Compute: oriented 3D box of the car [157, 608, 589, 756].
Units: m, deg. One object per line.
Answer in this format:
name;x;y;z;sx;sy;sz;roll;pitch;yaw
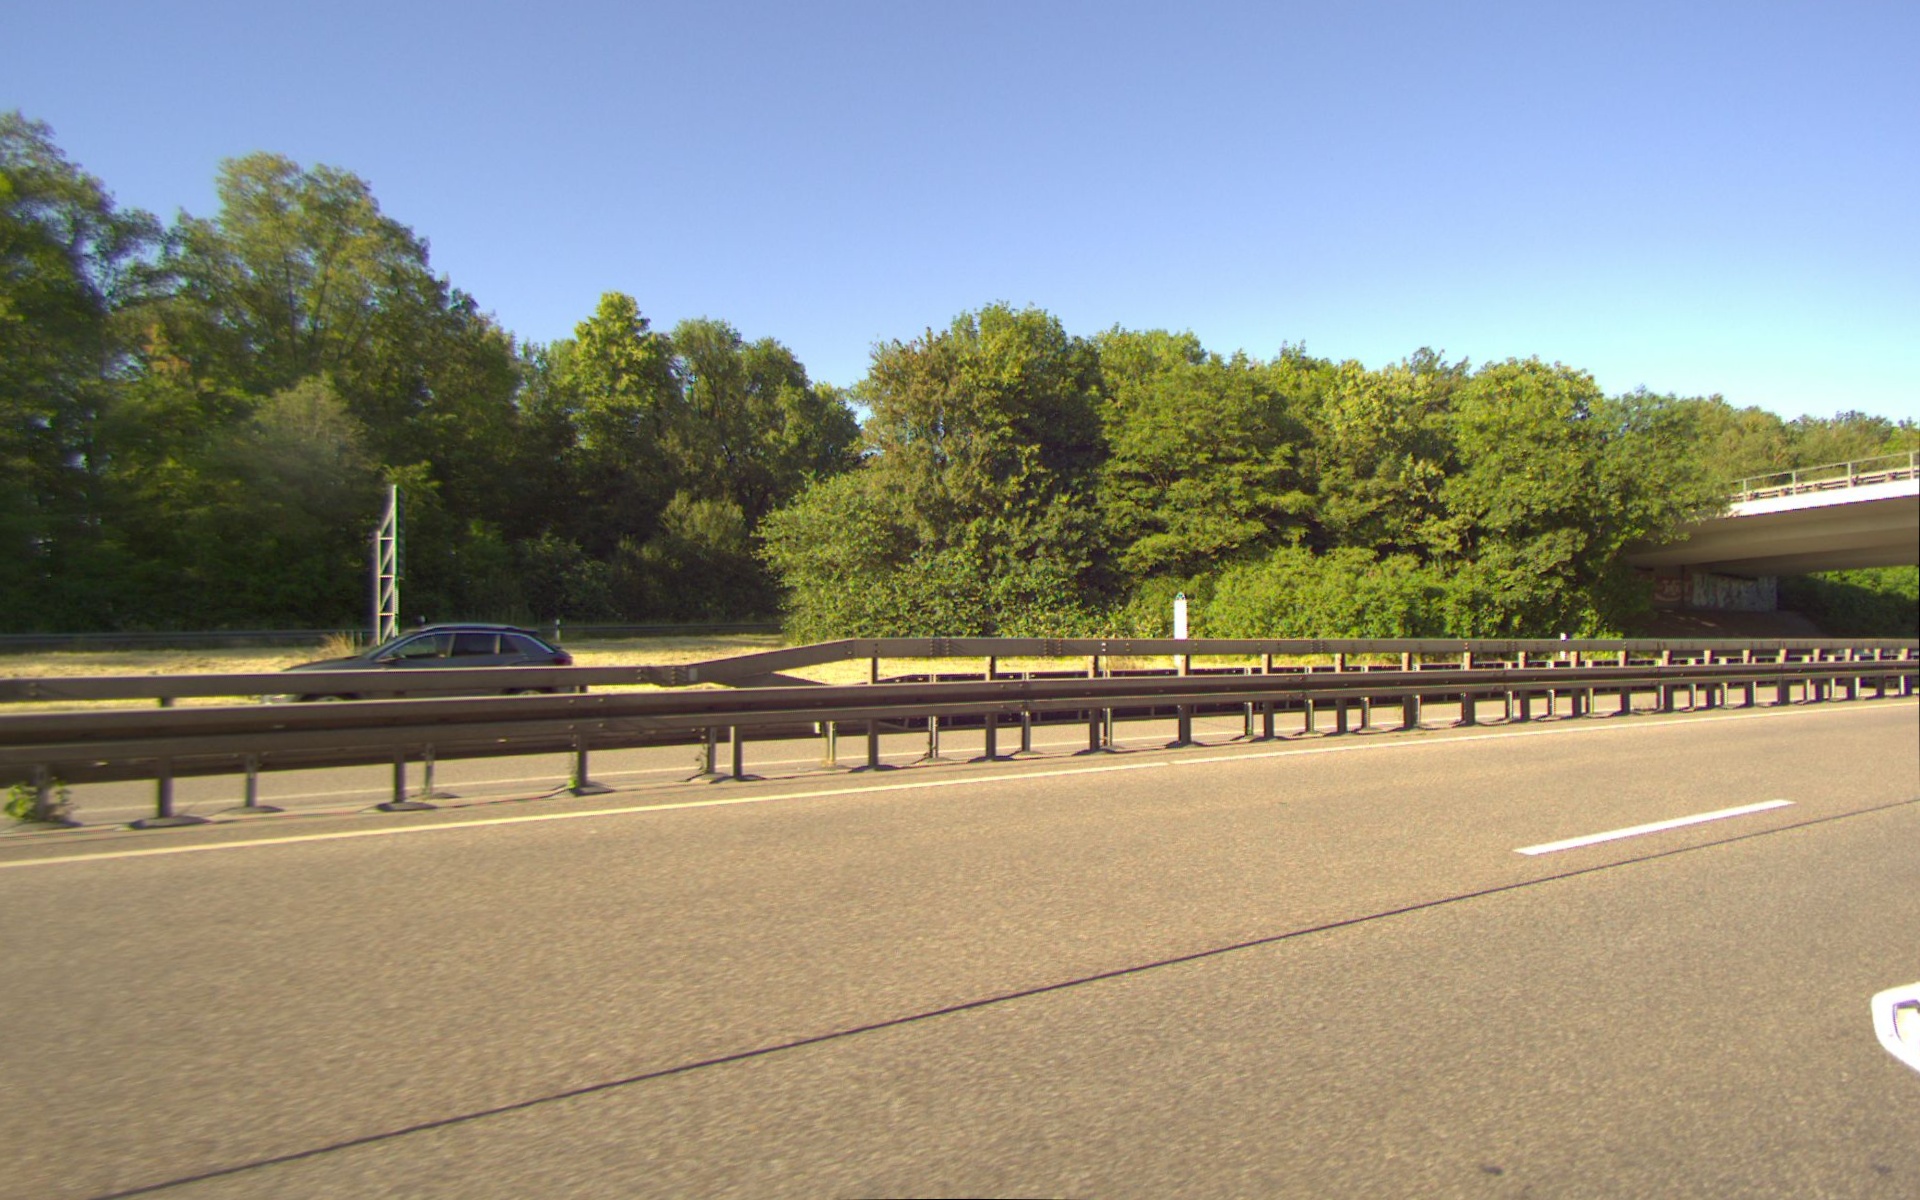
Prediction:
car;-8.505;1.104;15.071;5.249;1.872;1.984;1;0;-31
